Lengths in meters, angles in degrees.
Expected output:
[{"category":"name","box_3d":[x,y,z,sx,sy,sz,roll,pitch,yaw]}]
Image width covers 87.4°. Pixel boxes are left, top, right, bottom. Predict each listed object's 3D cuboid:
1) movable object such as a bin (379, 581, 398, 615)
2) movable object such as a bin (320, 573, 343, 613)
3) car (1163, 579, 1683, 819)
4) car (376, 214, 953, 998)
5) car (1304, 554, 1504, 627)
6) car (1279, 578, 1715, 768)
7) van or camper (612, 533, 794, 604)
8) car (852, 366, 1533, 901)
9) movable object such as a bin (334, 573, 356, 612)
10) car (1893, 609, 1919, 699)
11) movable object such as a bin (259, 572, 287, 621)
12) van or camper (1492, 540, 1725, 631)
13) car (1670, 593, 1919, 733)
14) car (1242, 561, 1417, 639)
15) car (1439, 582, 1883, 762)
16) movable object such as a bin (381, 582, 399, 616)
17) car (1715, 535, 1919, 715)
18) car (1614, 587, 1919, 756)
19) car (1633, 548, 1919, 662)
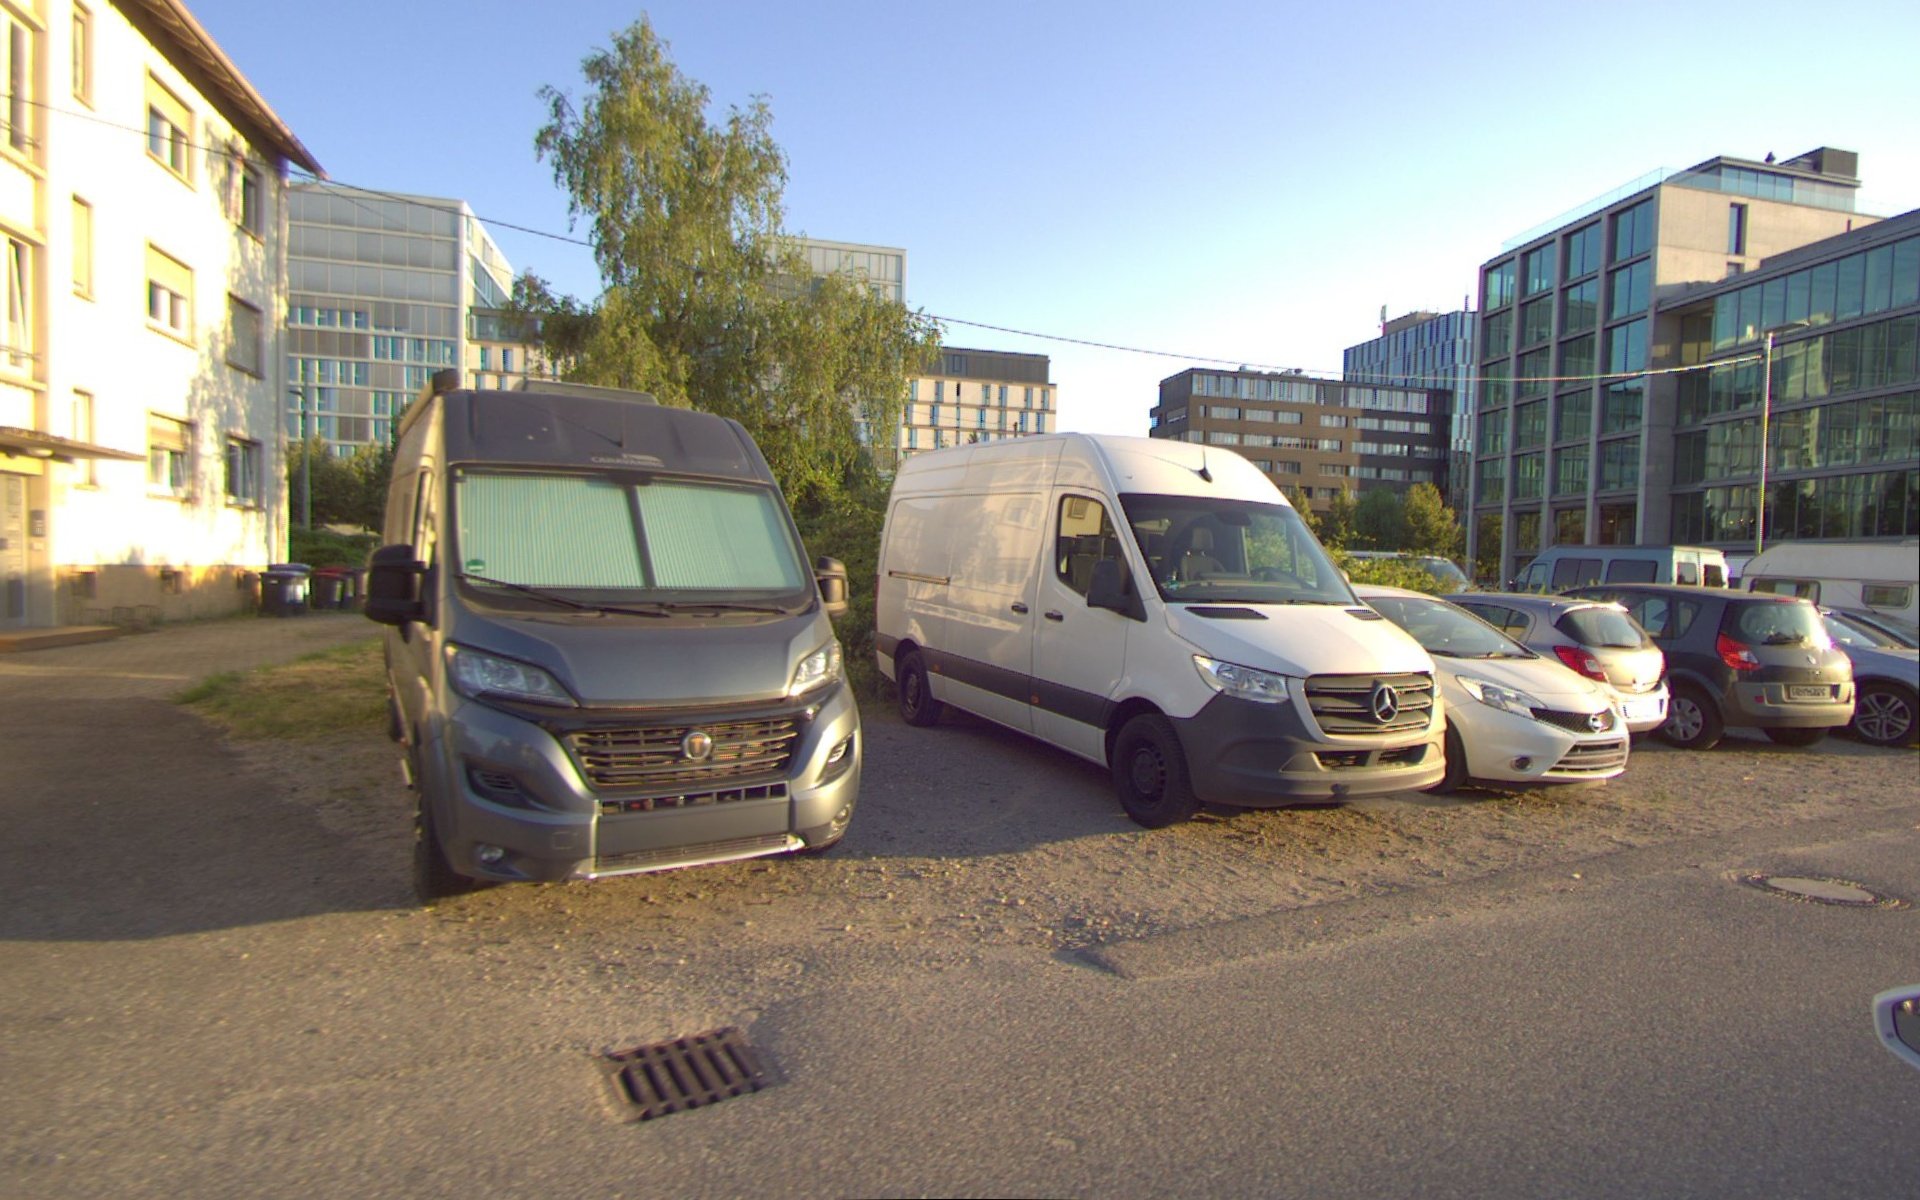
[{"category":"movable object such as a bin","box_3d":[-15.558,-0.056,27.322,0.436,0.927,0.324,1,1,-31]},{"category":"movable object such as a bin","box_3d":[-14.749,-0.170,23.584,0.436,0.927,0.324,1,1,-31]},{"category":"car","box_3d":[3.718,0.650,8.859,1.766,1.527,3.913,2,2,-25]},{"category":"car","box_3d":[-2.633,-0.132,6.787,2.090,2.749,6.353,2,3,-31]},{"category":"car","box_3d":[10.152,-0.293,23.406,1.949,1.496,4.367,1,2,-14]},{"category":"car","box_3d":[5.602,0.643,11.047,1.725,1.612,3.912,3,1,-26]},{"category":"van or camper","box_3d":[-8.228,-0.980,32.389,5.489,2.088,1.768,1,1,-15]},{"category":"car","box_3d":[1.164,0.014,8.189,2.025,2.750,5.801,0,4,-28]},{"category":"movable object such as a bin","box_3d":[-14.776,-0.174,24.146,0.436,0.927,0.324,1,1,-31]},{"category":"car","box_3d":[17.859,1.024,16.257,1.682,1.539,3.617,1,2,-24]},{"category":"movable object such as a bin","box_3d":[-13.923,-0.072,20.371,0.436,0.981,0.324,1,1,-31]},{"category":"van or camper","box_3d":[15.063,-0.400,23.662,1.901,1.916,4.334,1,2,-17]},{"category":"car","box_3d":[12.659,0.849,14.028,1.723,1.612,4.116,2,3,-23]},{"category":"car","box_3d":[7.957,-0.048,21.980,1.640,1.496,3.599,1,2,-19]},{"category":"car","box_3d":[7.733,0.666,11.592,1.720,1.612,3.922,1,2,-18]},{"category":"movable object such as a bin","box_3d":[-15.696,-0.031,27.655,0.436,0.927,0.324,1,1,-31]},{"category":"car","box_3d":[14.932,0.404,14.598,2.375,2.568,5.879,1,3,-20]},{"category":"car","box_3d":[10.521,0.783,12.164,1.720,1.612,4.122,3,3,-18]},{"category":"car","box_3d":[22.021,-0.006,27.239,2.186,2.709,6.241,1,2,-15]}]
